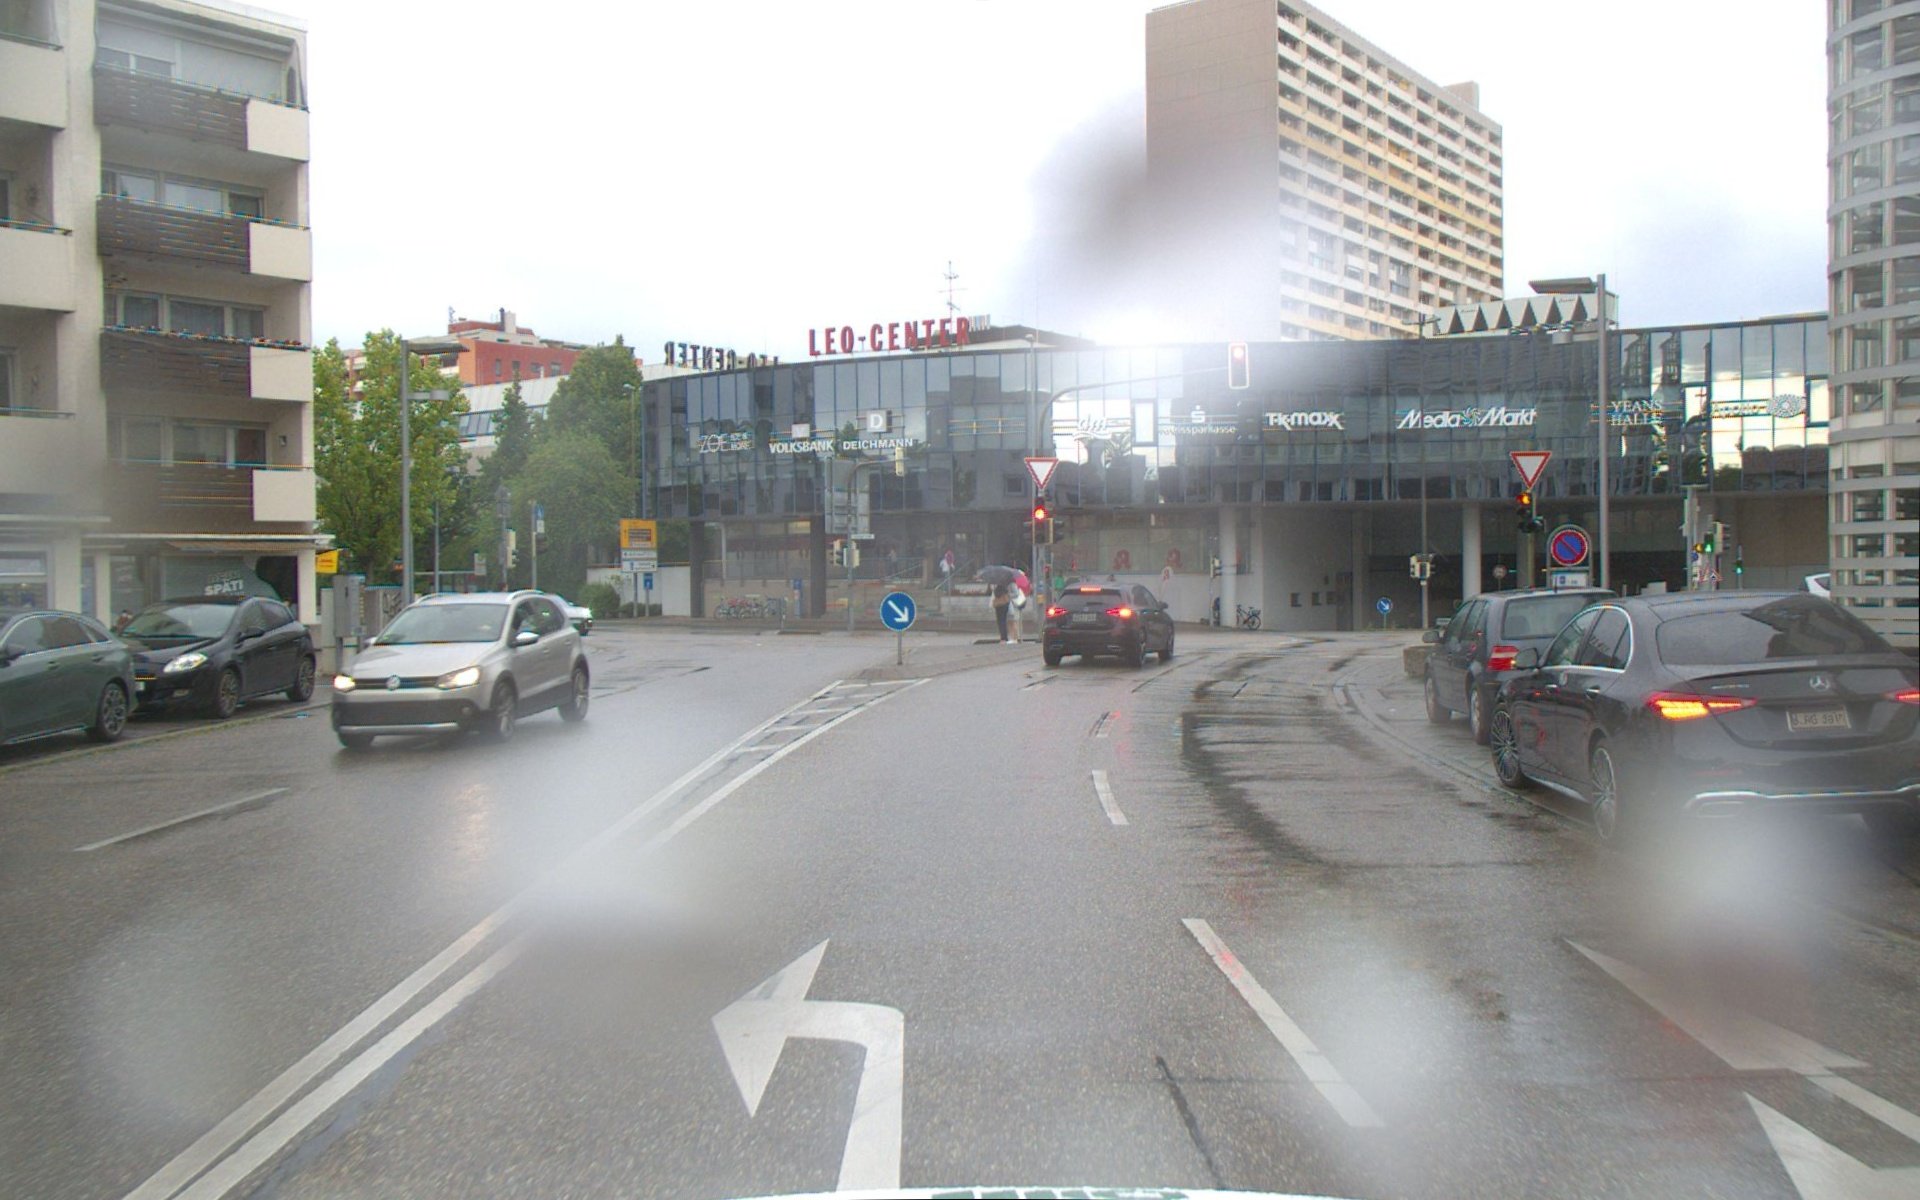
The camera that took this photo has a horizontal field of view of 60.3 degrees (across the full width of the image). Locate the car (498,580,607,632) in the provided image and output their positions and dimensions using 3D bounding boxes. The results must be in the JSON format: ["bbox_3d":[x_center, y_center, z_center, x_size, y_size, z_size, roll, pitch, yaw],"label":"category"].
[{"bbox_3d":[-14.199,0.190,57.499,1.980,1.538,4.372,2,2,-39],"label":"car"}]

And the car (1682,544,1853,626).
[{"bbox_3d":[21.220,-0.392,43.488,3.913,2.049,1.996,0,1,31],"label":"car"}]

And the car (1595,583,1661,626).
[{"bbox_3d":[29.100,0.194,72.013,1.958,1.747,3.990,-1,0,33],"label":"car"}]

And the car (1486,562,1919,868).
[{"bbox_3d":[4.870,0.610,10.805,1.951,1.560,4.650,0,-1,8],"label":"car"}]

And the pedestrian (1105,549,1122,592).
[{"bbox_3d":[7.289,-1.398,78.510,0.770,2.049,0.671,-1,0,8],"label":"pedestrian"}]

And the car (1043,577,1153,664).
[{"bbox_3d":[2.580,0.329,30.087,1.766,1.444,4.004,-1,1,8],"label":"car"}]

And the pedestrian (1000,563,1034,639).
[{"bbox_3d":[1.306,0.018,37.736,0.598,1.688,0.671,3,1,-7],"label":"pedestrian"}]

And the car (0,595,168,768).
[{"bbox_3d":[-9.862,0.764,16.426,1.895,1.568,4.520,-1,1,-2],"label":"car"}]

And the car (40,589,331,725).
[{"bbox_3d":[-9.999,0.664,21.761,1.895,1.568,4.272,-1,1,-2],"label":"car"}]

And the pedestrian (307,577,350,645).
[{"bbox_3d":[-19.714,0.338,51.598,1.015,2.048,0.954,2,2,-32],"label":"pedestrian"}]

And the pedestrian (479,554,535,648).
[{"bbox_3d":[-10.144,0.020,37.053,0.733,2.048,0.921,3,0,19],"label":"pedestrian"}]

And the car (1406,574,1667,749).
[{"bbox_3d":[5.857,0.542,17.269,1.662,1.511,4.003,-4,0,7],"label":"car"}]

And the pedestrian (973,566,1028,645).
[{"bbox_3d":[0.891,0.128,36.844,0.899,1.688,0.748,2,1,-30],"label":"pedestrian"}]

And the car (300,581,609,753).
[{"bbox_3d":[-5.159,0.611,17.442,1.786,1.464,3.843,-2,1,4],"label":"car"}]
